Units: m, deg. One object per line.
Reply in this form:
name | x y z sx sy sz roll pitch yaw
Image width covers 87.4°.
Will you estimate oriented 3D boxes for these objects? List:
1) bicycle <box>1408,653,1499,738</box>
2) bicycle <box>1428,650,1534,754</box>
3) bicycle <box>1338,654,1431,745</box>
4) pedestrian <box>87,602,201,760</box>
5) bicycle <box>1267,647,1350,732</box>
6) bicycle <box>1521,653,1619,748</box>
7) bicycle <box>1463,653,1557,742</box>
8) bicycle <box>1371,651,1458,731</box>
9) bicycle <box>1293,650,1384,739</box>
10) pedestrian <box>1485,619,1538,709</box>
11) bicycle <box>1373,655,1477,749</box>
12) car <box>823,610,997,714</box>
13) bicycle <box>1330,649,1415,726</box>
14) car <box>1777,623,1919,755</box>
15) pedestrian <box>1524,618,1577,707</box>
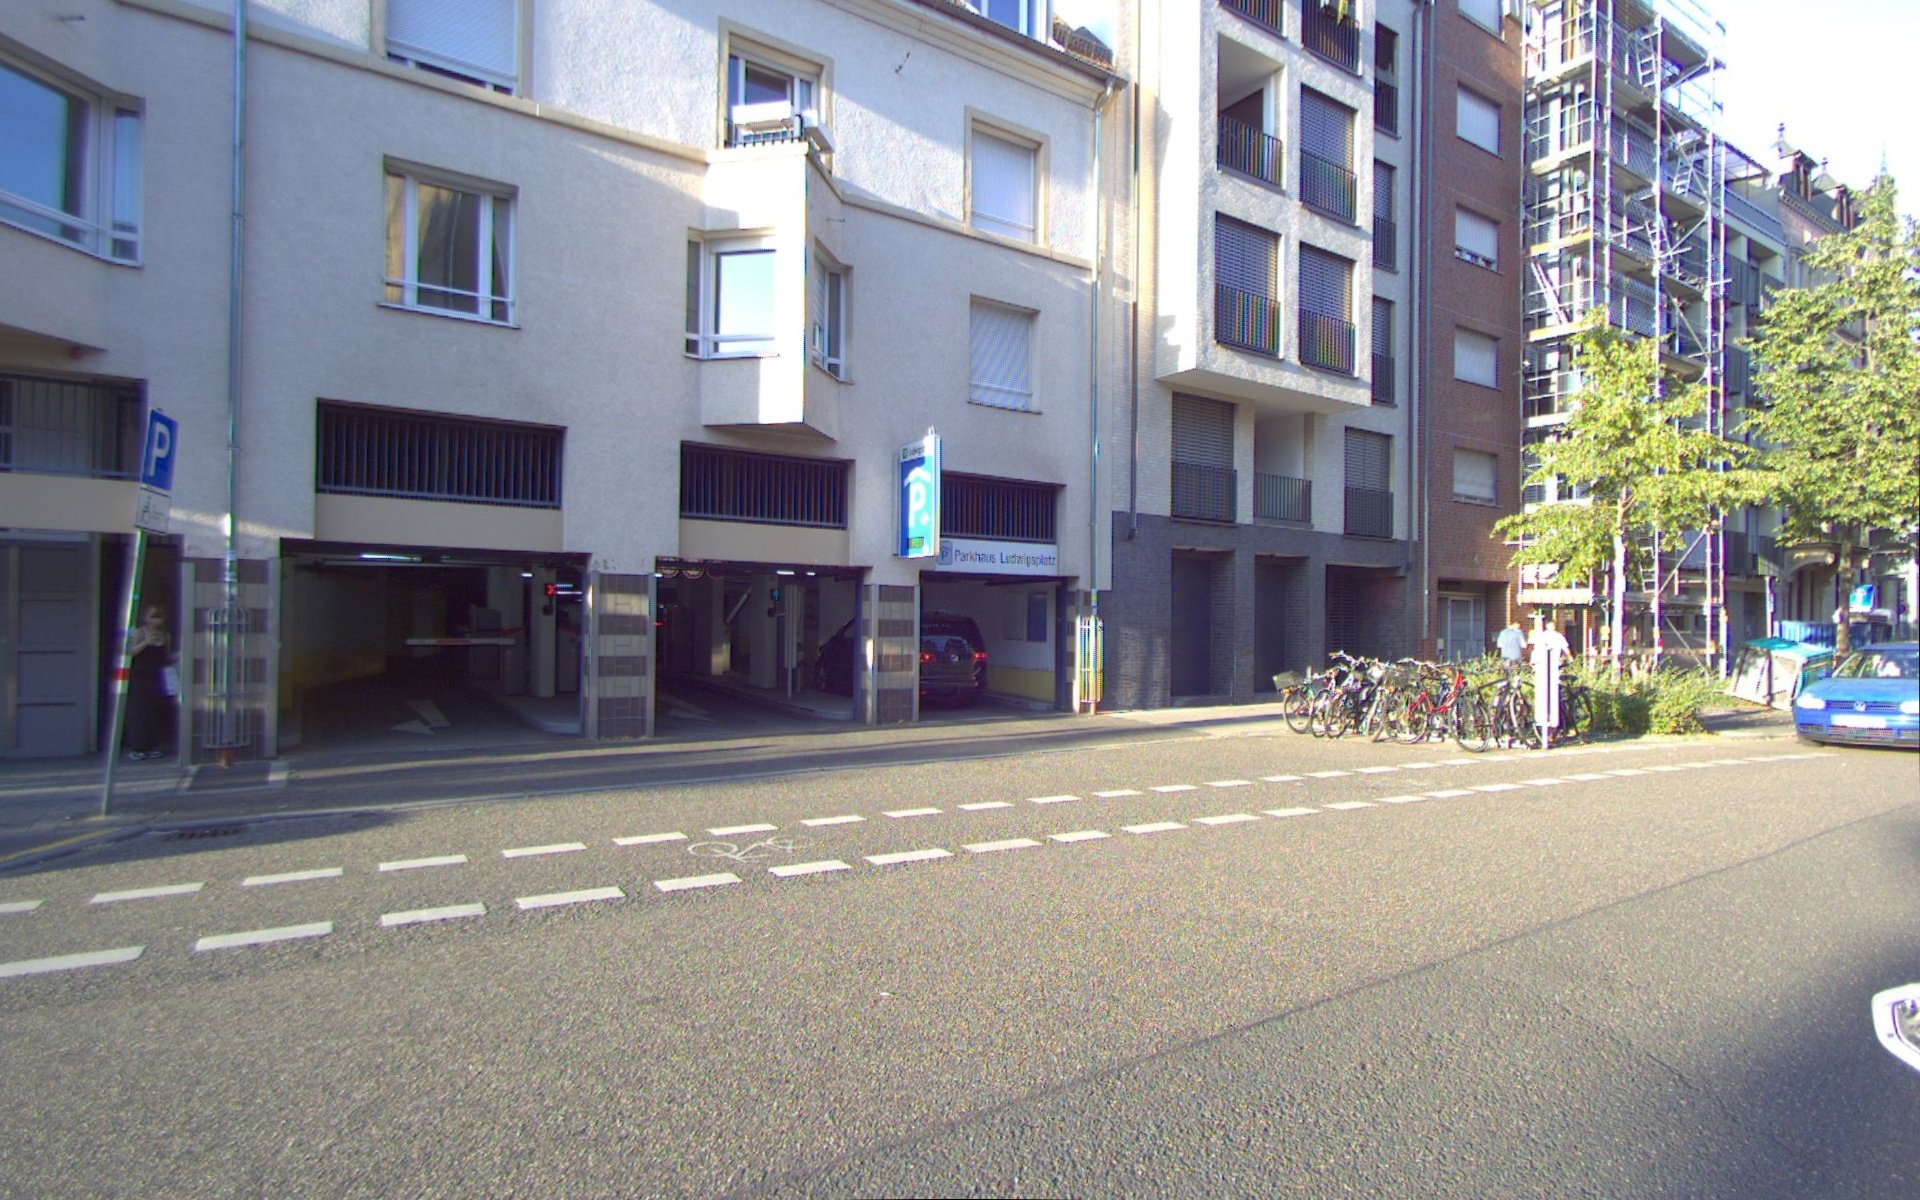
bicycle | 7.255 1.375 14.749 1.535 1.165 0.484 2 -1 -33
bicycle | 6.621 1.260 12.739 1.535 1.237 0.494 2 -1 -33
bicycle | 5.852 1.339 13.812 1.535 1.175 0.378 2 -1 -33
pedestrian | -8.557 0.835 10.560 0.523 1.593 0.778 1 -1 -2
bicycle | 5.193 1.311 14.931 1.390 1.199 0.385 2 -1 -33
bicycle | 8.210 1.320 13.504 1.535 1.194 0.504 2 -1 -33
bicycle | 7.774 1.343 14.178 1.535 1.178 0.484 2 -1 -33
bicycle | 6.980 1.368 15.400 1.535 1.159 0.464 2 -1 -33
bicycle | 5.459 1.332 14.462 1.535 1.205 0.384 2 -1 -33
pedestrian | 11.403 1.304 20.778 0.649 1.807 0.737 1 -2 -32
bicycle | 6.205 1.332 13.370 1.533 1.172 0.415 1 -1 -28
car | -1.015 1.028 18.236 1.543 1.639 3.849 1 -1 -31
bicycle | 6.566 1.369 15.962 1.535 1.147 0.454 2 -1 -33
car | 13.008 1.139 13.645 4.071 1.583 1.680 2 -3 -31
pedestrian | 12.208 1.273 20.778 0.650 1.807 0.736 1 -2 -34
